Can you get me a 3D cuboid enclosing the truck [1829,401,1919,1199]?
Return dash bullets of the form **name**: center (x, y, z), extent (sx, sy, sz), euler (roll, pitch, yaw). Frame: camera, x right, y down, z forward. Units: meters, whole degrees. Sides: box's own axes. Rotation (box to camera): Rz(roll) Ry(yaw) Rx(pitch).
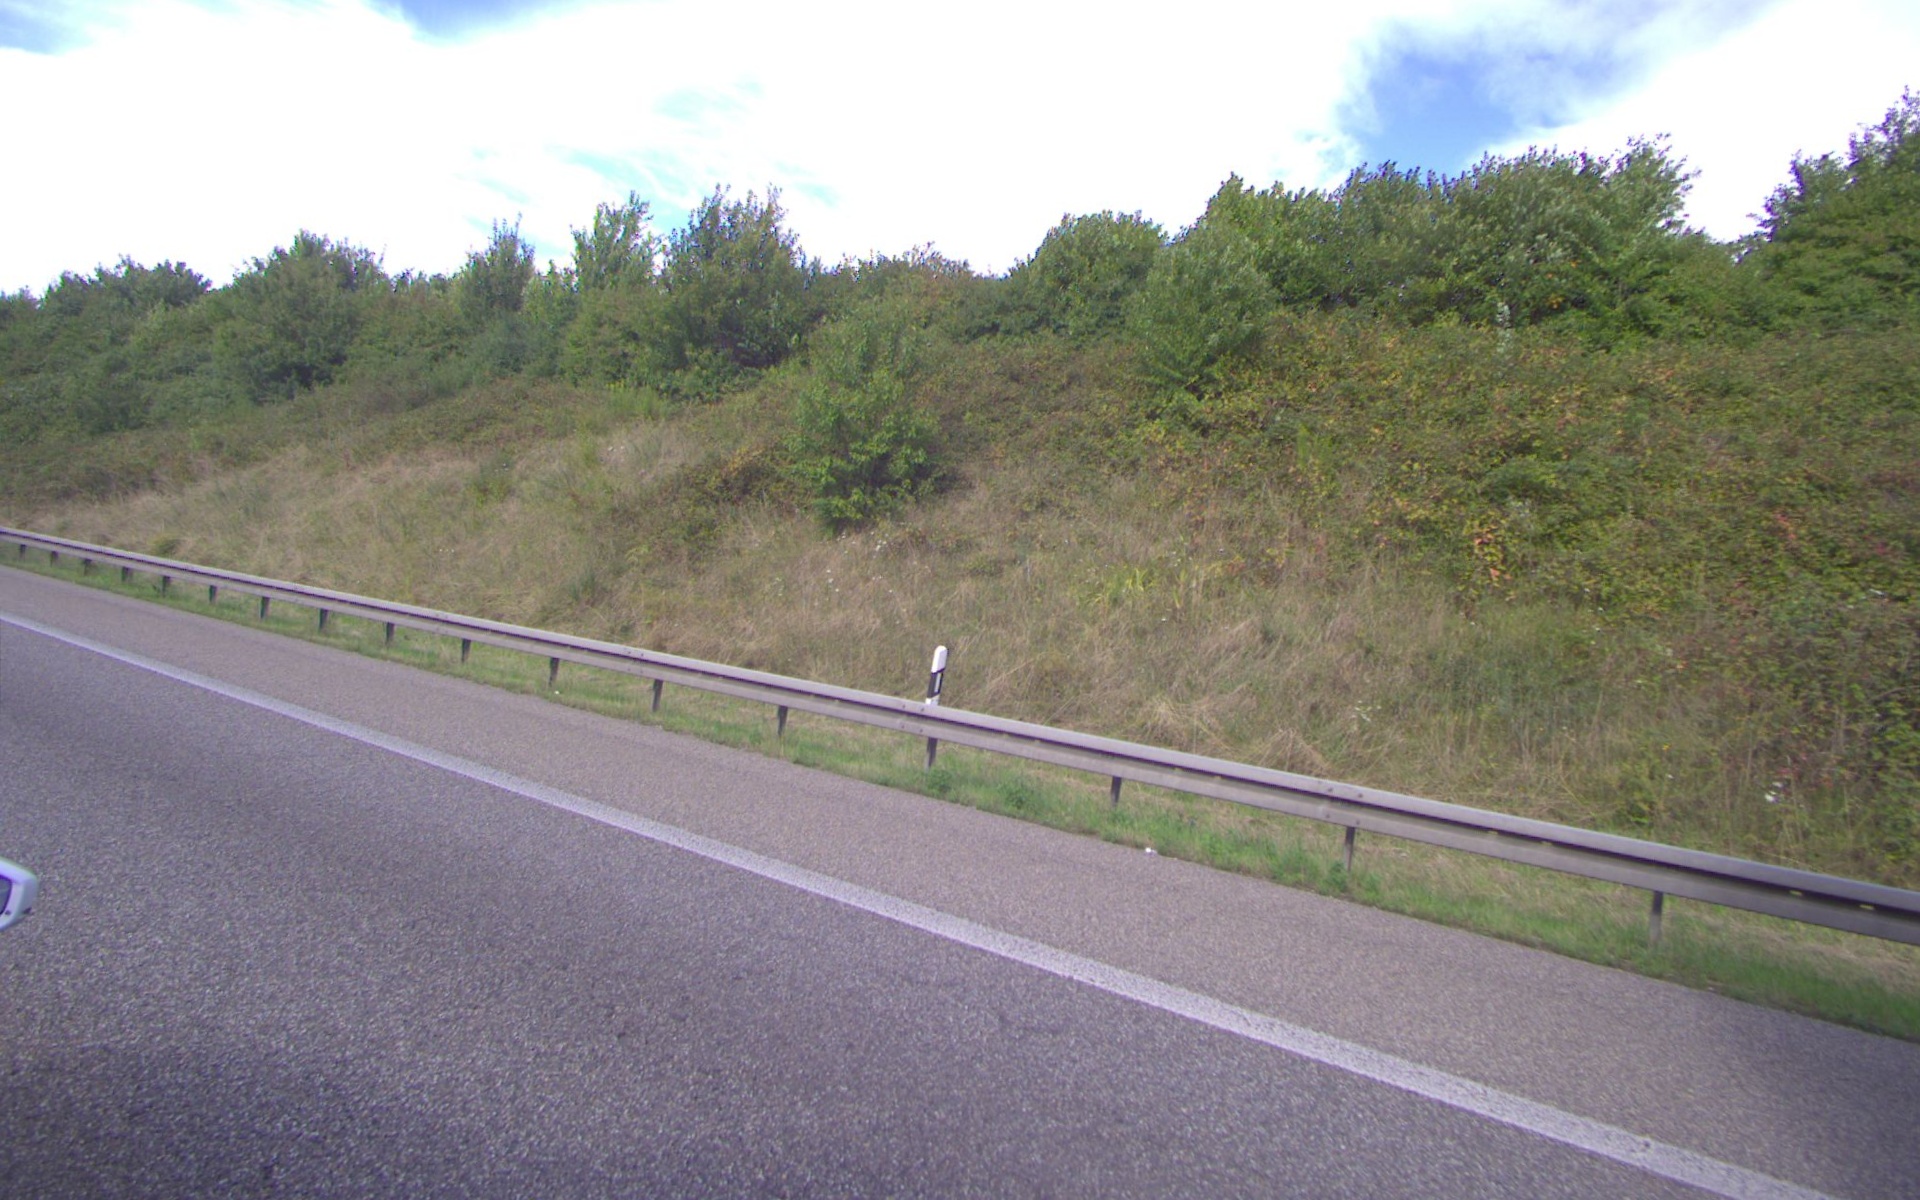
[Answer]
- **truck**: center (5.166, 0.106, 0.980), extent (5.808, 4.091, 2.806), euler (7, -1, 33)
